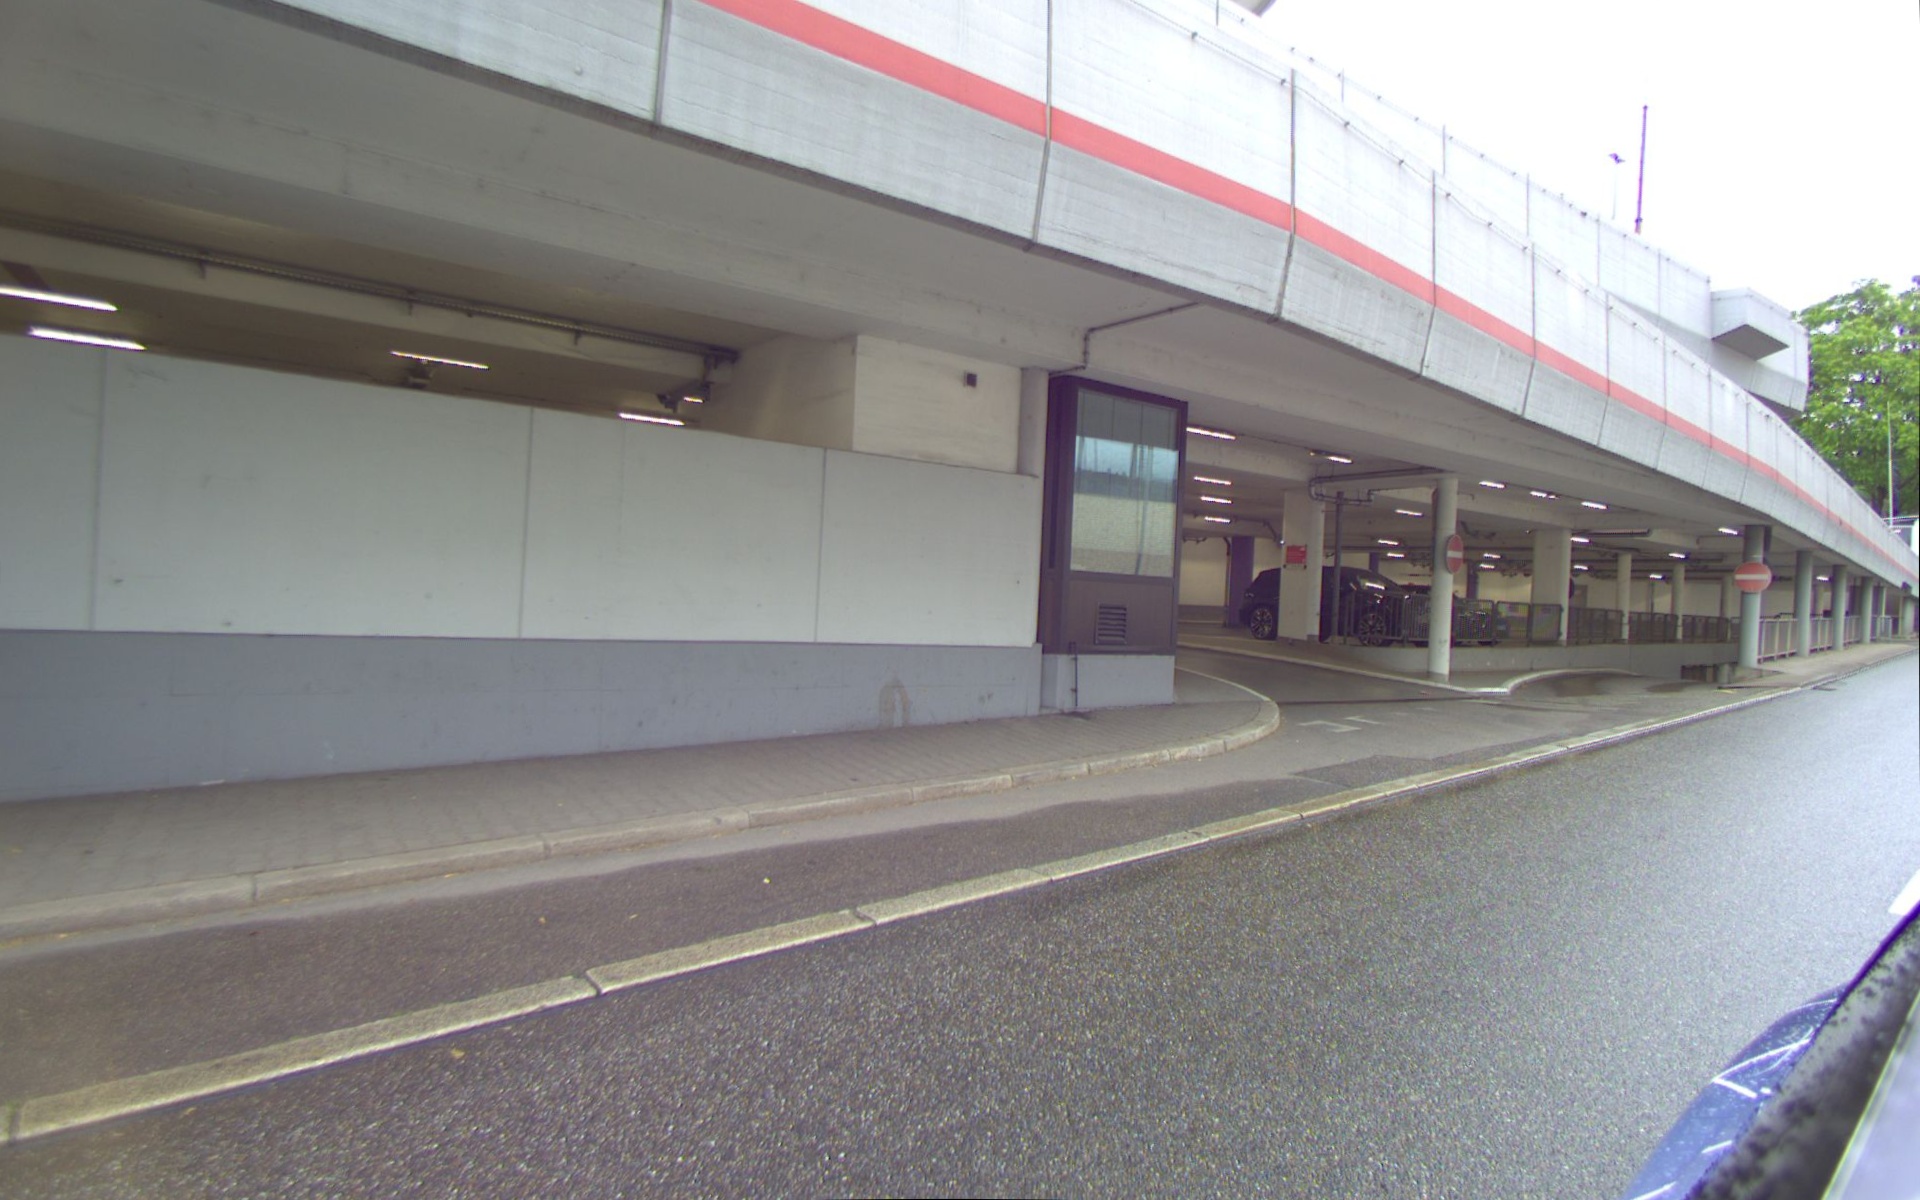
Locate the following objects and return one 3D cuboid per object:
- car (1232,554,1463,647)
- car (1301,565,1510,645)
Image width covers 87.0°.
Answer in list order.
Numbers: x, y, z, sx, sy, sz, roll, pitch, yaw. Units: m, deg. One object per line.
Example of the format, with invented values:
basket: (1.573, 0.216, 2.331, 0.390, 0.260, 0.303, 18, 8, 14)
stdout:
car: (8.165, -0.016, 21.715, 1.960, 1.682, 4.261, 5, -2, -31)
car: (10.763, 0.091, 24.756, 1.960, 1.682, 4.261, 5, -2, -31)
